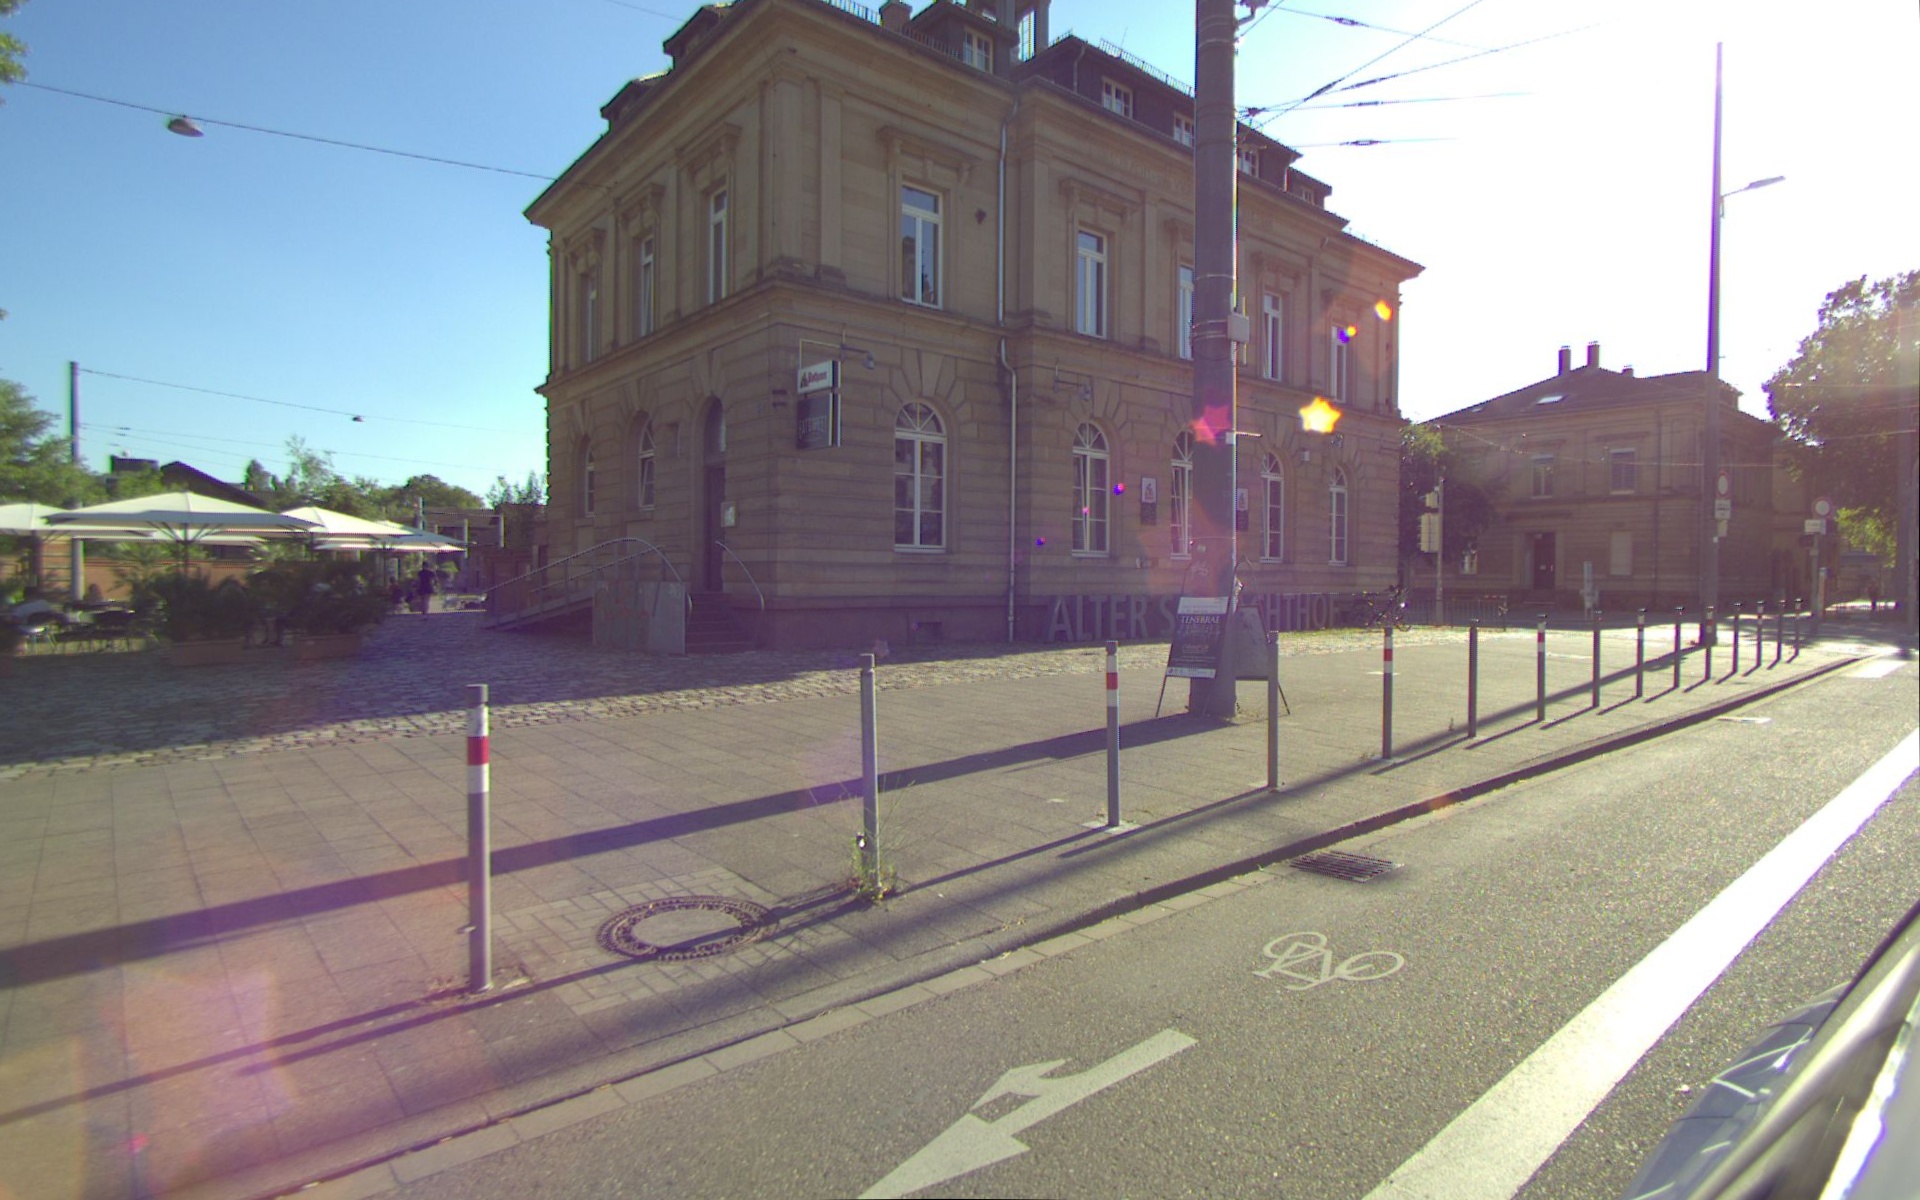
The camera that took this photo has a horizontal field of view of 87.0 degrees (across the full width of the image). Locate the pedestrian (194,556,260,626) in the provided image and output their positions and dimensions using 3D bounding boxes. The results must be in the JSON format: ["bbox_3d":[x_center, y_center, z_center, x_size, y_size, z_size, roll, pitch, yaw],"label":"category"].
[{"bbox_3d":[-19.298,-0.262,26.651,0.984,1.766,1.033,2,2,13],"label":"pedestrian"}]

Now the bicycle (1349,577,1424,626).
[{"bbox_3d":[11.082,0.019,26.341,0.678,1.195,1.649,0,2,-41],"label":"bicycle"}]

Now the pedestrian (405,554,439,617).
[{"bbox_3d":[-15.519,-0.436,29.188,0.653,1.766,0.838,-1,3,-43],"label":"pedestrian"}]

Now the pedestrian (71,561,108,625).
[{"bbox_3d":[-21.013,-0.178,24.433,0.653,1.484,0.838,0,3,-42],"label":"pedestrian"}]

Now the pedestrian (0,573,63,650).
[{"bbox_3d":[-17.854,0.206,19.268,0.978,1.396,0.775,0,2,-27],"label":"pedestrian"}]

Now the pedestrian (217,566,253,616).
[{"bbox_3d":[-22.185,-0.291,30.975,0.825,1.484,0.663,-1,3,-44],"label":"pedestrian"}]

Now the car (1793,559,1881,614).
[{"bbox_3d":[34.630,-0.551,39.930,3.926,2.072,1.834,-1,1,-37],"label":"car"}]

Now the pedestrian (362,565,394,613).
[{"bbox_3d":[-18.685,-0.355,32.506,0.836,1.484,0.655,3,3,40],"label":"pedestrian"}]

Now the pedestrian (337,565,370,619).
[{"bbox_3d":[-17.169,-0.239,28.623,0.653,1.484,0.838,-1,3,-42],"label":"pedestrian"}]

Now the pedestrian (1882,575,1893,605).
[{"bbox_3d":[52.953,-0.576,57.777,0.383,1.665,0.364,0,1,-39],"label":"pedestrian"}]

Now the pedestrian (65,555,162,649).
[{"bbox_3d":[-16.321,0.012,19.541,1.021,1.766,0.996,1,2,12],"label":"pedestrian"}]
